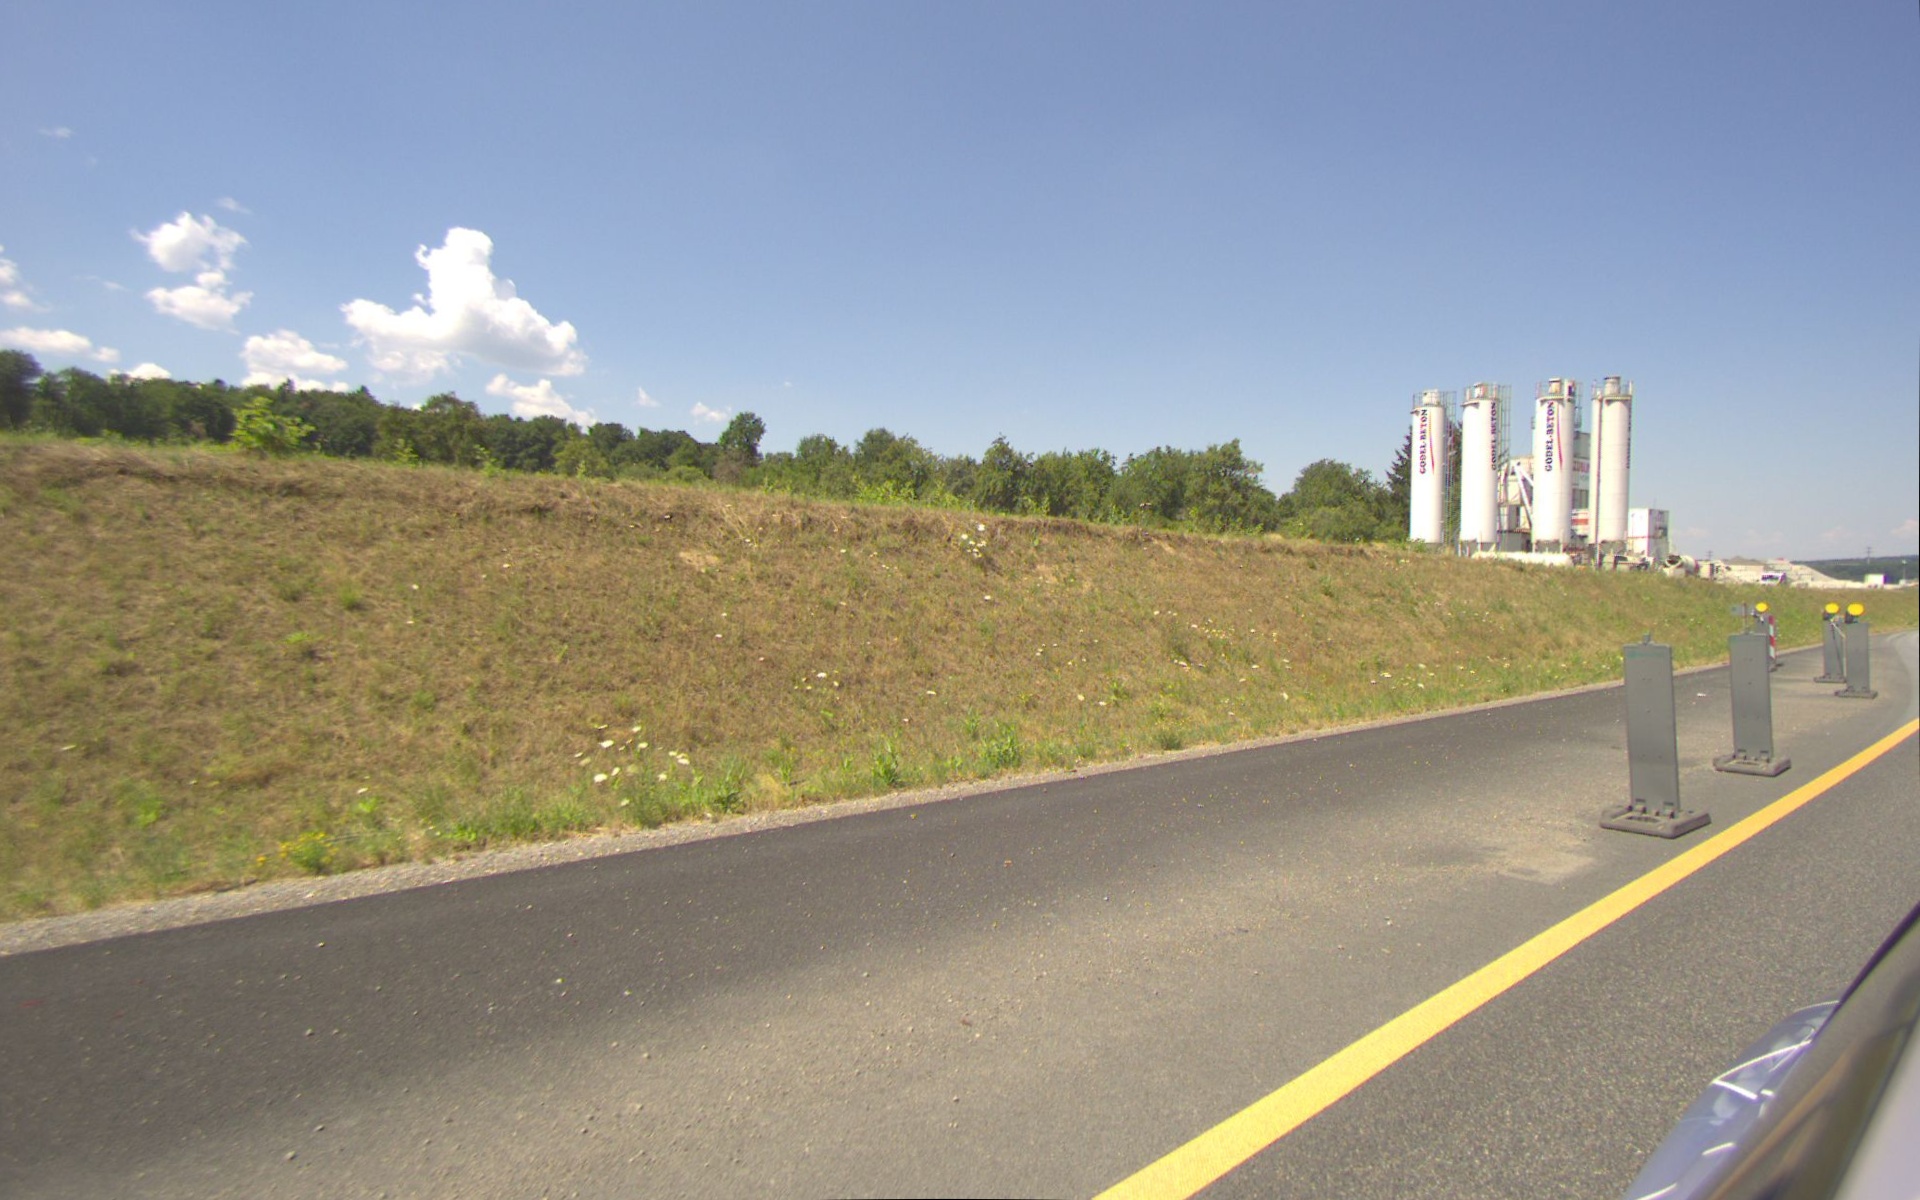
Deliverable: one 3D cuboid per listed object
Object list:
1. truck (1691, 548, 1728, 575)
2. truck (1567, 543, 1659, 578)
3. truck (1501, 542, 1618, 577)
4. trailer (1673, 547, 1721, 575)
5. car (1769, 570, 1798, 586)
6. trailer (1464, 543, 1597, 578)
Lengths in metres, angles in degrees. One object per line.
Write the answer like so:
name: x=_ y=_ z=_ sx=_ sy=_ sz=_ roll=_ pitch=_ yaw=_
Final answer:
truck: x=76.327 y=-3.902 z=103.085 sx=3.966 sy=2.577 sz=2.022 roll=-1 pitch=0 yaw=-37
truck: x=49.941 y=-2.982 z=77.528 sx=5.228 sy=2.576 sz=2.893 roll=0 pitch=0 yaw=14
truck: x=54.938 y=-3.612 z=93.084 sx=2.412 sy=2.904 sz=9.103 roll=-1 pitch=0 yaw=-34
trailer: x=73.437 y=-3.855 z=100.783 sx=6.809 sy=2.678 sz=1.999 roll=-1 pitch=0 yaw=-37
car: x=93.102 y=-2.517 z=114.387 sx=3.539 sy=1.785 sz=1.989 roll=-1 pitch=0 yaw=-41
trailer: x=45.291 y=-3.102 z=80.610 sx=2.423 sy=2.639 sz=8.903 roll=-1 pitch=1 yaw=-43
